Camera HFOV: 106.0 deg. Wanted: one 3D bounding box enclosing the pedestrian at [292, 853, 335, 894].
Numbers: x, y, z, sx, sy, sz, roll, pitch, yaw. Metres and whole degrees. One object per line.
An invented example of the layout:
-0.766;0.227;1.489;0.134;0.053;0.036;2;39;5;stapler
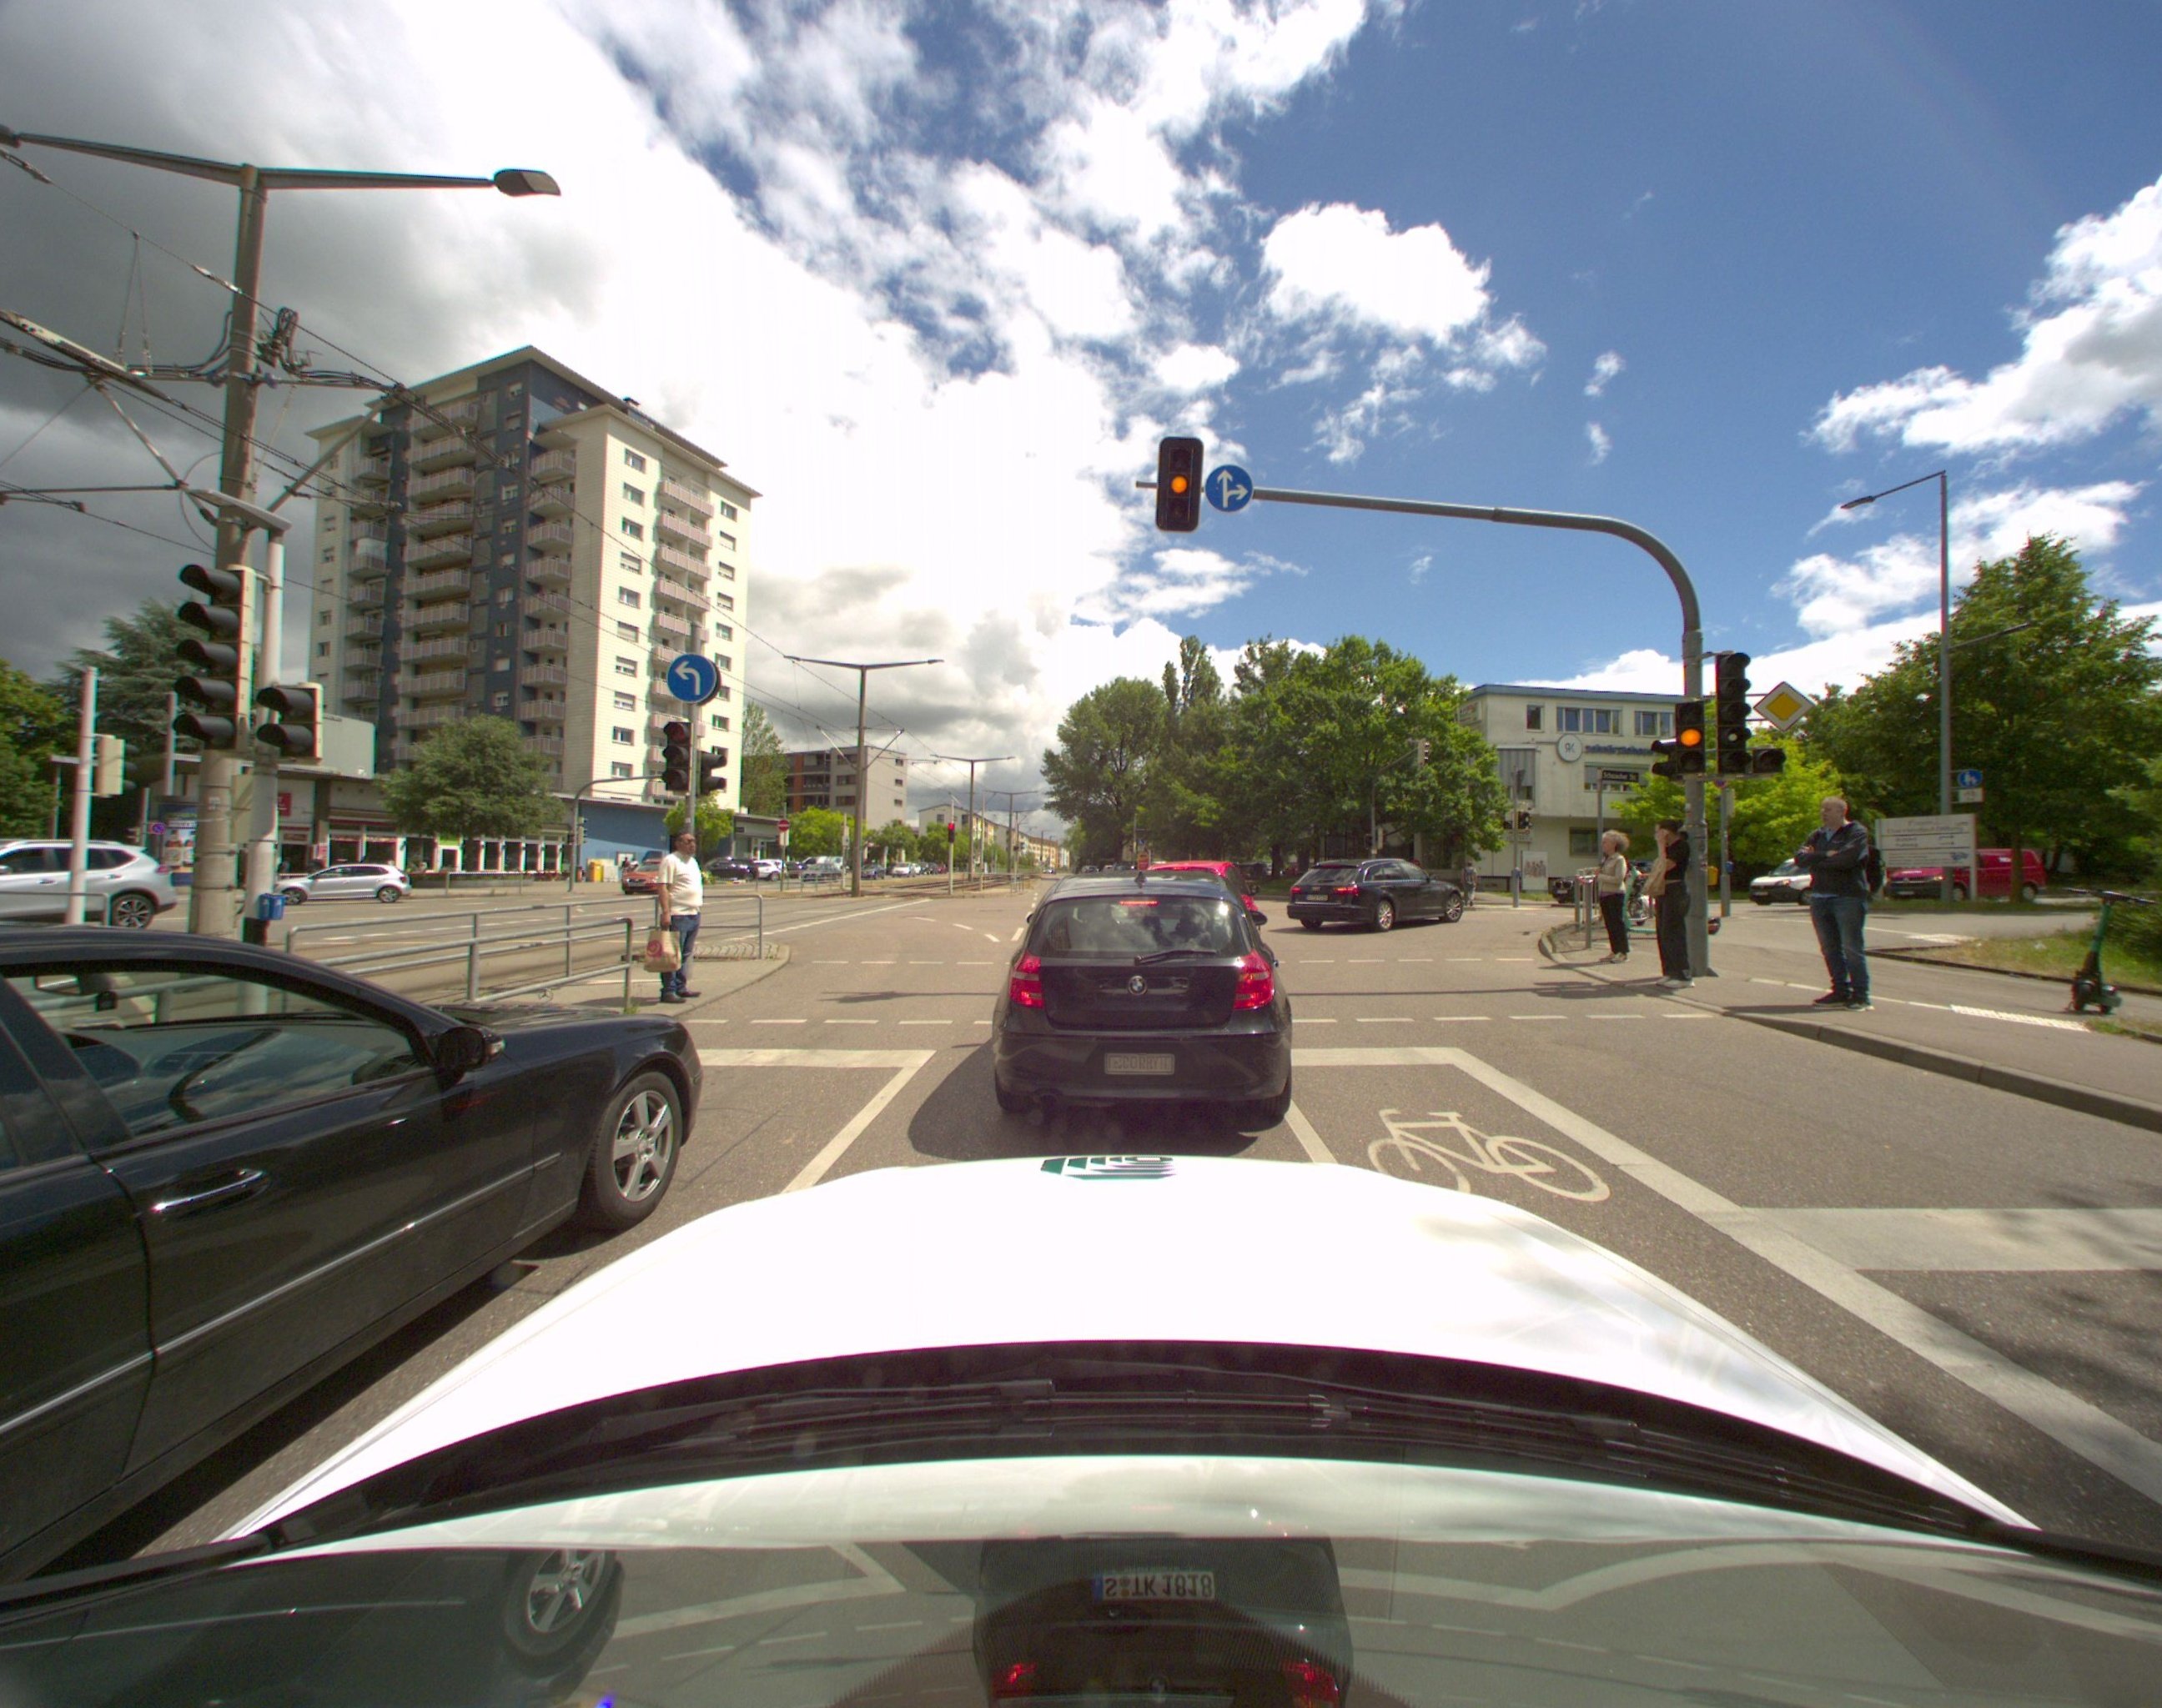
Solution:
-36.902;0.923;39.161;0.861;1.917;1.215;0;0;2;pedestrian

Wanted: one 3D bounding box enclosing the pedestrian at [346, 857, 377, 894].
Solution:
-31.866;0.961;36.077;0.767;1.615;0.695;0;-1;-12;pedestrian

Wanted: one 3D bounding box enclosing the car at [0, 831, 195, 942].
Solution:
-18.549;0.563;13.867;1.988;1.801;4.508;-2;0;-1;car

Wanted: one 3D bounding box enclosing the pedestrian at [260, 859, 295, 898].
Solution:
-33.779;1.024;34.232;0.763;1.615;0.699;0;-1;7;pedestrian

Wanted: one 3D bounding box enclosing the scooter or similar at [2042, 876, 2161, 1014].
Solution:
10.622;0.930;8.475;1.247;1.275;0.709;6;-1;-38;scooter or similar

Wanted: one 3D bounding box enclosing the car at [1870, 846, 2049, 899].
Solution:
31.864;0.671;29.603;4.800;1.864;1.995;0;-2;-8;car

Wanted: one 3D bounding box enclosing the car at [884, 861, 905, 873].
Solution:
-21.561;1.484;94.217;1.758;1.395;3.993;0;0;-5;car

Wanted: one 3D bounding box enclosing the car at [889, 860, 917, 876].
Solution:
-18.437;1.431;84.348;1.930;1.693;3.874;0;0;2;car

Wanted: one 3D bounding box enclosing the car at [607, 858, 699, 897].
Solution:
-19.753;1.020;37.834;1.989;1.635;4.456;-2;0;-3;car

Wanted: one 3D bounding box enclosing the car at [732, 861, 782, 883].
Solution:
-24.395;1.322;61.228;4.165;1.570;1.973;0;0;45;car

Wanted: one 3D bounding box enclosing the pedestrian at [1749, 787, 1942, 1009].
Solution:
7.065;0.384;7.583;0.963;1.942;0.896;0;0;-3;pedestrian

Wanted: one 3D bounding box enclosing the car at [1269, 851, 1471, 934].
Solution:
6.266;0.730;17.451;4.543;1.554;1.977;0;-1;-39;car

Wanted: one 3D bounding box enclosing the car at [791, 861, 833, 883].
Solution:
-19.566;1.301;59.425;1.624;1.414;4.253;-1;1;0;car

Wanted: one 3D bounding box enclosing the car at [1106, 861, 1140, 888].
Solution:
2.773;1.350;54.298;2.144;1.684;4.001;0;-1;2;car

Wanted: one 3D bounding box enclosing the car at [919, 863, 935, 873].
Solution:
-21.299;1.949;112.863;1.758;1.395;3.993;0;0;-5;car

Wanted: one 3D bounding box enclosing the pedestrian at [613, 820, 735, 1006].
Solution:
-4.126;0.573;8.312;0.866;1.808;0.741;0;0;-2;pedestrian

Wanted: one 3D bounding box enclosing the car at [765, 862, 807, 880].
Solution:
-24.581;1.361;67.732;1.800;1.420;4.166;0;0;-43;car

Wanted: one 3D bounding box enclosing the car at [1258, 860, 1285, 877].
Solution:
18.357;1.384;78.651;1.626;1.595;3.998;0;0;-1;car

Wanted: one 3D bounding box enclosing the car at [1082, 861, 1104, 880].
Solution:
1.185;1.557;77.157;1.986;1.684;4.002;0;0;2;car

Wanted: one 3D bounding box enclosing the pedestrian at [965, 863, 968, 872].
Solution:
-20.200;2.431;144.010;0.452;1.637;0.480;0;-1;-3;pedestrian

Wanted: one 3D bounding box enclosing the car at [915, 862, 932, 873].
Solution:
-20.964;1.808;108.287;1.758;1.395;3.993;0;0;-5;car

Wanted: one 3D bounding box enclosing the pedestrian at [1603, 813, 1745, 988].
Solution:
6.346;0.472;8.751;0.933;1.765;0.770;-1;0;-10;pedestrian

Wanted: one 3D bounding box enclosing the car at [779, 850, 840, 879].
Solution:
-24.329;0.915;72.728;2.848;2.478;6.642;0;0;-41;car

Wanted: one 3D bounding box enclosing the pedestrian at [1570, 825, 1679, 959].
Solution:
7.122;0.488;10.723;0.945;1.674;0.874;-1;-1;17;pedestrian

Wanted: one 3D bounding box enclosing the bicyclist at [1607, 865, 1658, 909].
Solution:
12.881;0.763;19.034;0.789;1.022;0.635;0;-1;-2;bicyclist

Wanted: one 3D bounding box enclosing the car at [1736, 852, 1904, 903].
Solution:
26.291;0.815;29.049;4.555;1.717;1.995;0;0;-8;car

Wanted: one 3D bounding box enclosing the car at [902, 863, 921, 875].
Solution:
-21.116;1.842;101.703;1.758;1.395;3.993;0;0;-5;car

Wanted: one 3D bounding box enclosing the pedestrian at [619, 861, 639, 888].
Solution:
-28.446;1.268;51.294;0.952;1.659;1.087;0;-1;-38;pedestrian

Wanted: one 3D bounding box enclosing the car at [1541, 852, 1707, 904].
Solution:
18.596;0.801;28.012;4.551;1.717;1.996;0;0;-5;car

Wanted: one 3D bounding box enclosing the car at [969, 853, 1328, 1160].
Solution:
0.395;0.741;5.965;1.746;1.487;4.002;0;0;2;car

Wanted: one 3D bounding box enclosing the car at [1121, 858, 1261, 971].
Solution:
1.769;0.784;12.273;1.529;1.441;3.211;0;0;18;car

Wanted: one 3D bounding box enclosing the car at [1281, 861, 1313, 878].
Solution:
20.948;1.512;79.025;1.728;1.595;3.992;0;0;-5;car

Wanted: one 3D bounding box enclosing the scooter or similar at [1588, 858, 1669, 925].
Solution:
9.883;0.663;14.702;1.360;1.156;0.540;1;0;-23;scooter or similar

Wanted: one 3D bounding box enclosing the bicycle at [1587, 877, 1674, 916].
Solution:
12.882;0.973;19.157;0.789;0.819;1.806;0;0;-2;bicycle

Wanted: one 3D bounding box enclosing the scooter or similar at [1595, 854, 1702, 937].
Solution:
8.975;0.647;12.916;1.336;1.277;0.463;0;1;8;scooter or similar

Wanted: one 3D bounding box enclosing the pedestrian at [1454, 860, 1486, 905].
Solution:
14.548;1.043;30.473;0.765;1.643;0.908;0;0;1;pedestrian

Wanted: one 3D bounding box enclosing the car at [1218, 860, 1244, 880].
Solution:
14.050;1.505;76.514;1.626;1.811;4.030;0;0;-1;car

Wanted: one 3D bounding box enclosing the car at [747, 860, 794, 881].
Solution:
-24.619;1.283;64.551;4.165;1.538;1.973;0;0;45;car

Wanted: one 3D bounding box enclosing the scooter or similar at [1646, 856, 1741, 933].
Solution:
10.364;0.682;13.787;1.225;1.240;0.555;2;0;-7;scooter or similar

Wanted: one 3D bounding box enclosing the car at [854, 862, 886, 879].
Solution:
-18.443;1.414;71.481;1.629;1.399;4.492;0;-1;0;car

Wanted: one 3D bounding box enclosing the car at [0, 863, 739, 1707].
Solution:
-2.710;0.770;1.939;1.721;1.461;4.546;0;0;2;car

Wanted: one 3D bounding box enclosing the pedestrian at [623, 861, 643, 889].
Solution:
-27.714;1.295;50.354;0.952;1.659;1.087;0;-1;-38;pedestrian

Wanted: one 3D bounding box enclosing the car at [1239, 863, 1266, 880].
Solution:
16.297;1.630;77.422;1.626;1.573;4.030;0;0;-1;car

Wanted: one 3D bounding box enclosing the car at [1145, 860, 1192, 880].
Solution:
8.133;1.499;75.687;4.001;1.823;1.766;0;0;-21;car

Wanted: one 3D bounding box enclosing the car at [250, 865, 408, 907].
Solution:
-26.767;1.089;29.141;4.022;1.398;1.677;1;-2;-43;car

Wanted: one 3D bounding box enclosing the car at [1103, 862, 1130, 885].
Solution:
2.706;1.442;61.752;1.986;1.684;4.001;0;-1;2;car
